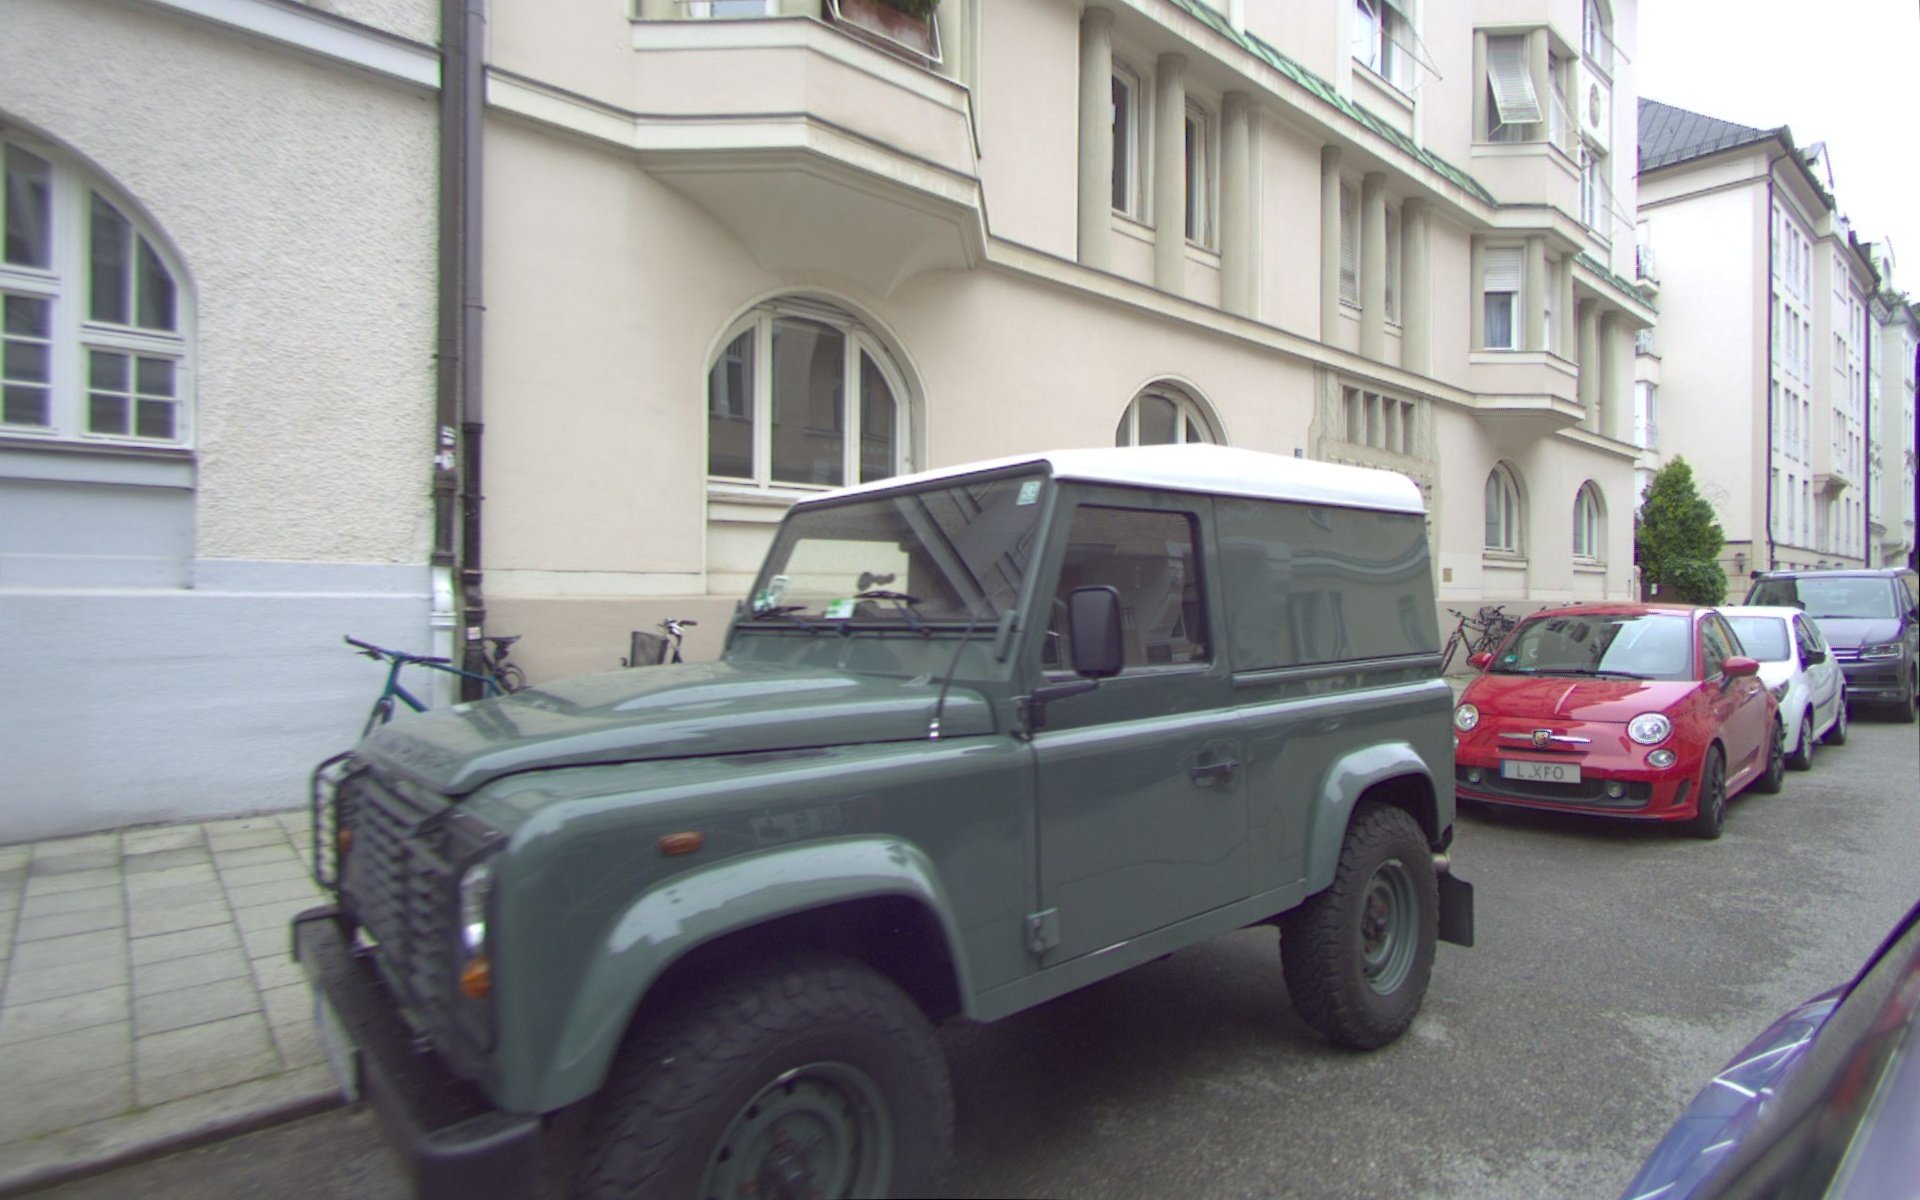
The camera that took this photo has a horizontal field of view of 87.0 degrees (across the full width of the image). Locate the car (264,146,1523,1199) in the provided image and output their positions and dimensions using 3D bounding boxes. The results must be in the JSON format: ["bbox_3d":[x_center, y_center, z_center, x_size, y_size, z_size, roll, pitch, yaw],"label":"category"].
[{"bbox_3d":[0.154,0.372,3.433,4.000,2.065,1.799,0,0,-41],"label":"car"}]

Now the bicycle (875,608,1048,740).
[{"bbox_3d":[0.015,0.640,9.094,1.527,1.131,0.317,0,0,-13],"label":"bicycle"}]

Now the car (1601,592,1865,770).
[{"bbox_3d":[7.943,0.687,10.291,3.612,1.490,1.494,0,-1,-42],"label":"car"}]

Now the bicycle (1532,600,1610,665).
[{"bbox_3d":[11.514,0.580,19.053,1.852,1.131,0.719,0,2,-42],"label":"bicycle"}]

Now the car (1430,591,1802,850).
[{"bbox_3d":[5.011,0.698,7.559,3.444,1.490,1.494,0,-1,-42],"label":"car"}]

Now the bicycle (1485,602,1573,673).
[{"bbox_3d":[9.997,0.627,17.749,1.933,1.131,0.719,0,2,-41],"label":"bicycle"}]

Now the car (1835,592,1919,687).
[{"bbox_3d":[16.252,0.607,17.076,3.672,1.485,1.730,0,0,-41],"label":"car"}]

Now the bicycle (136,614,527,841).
[{"bbox_3d":[-3.712,0.668,6.095,1.933,1.131,0.647,0,0,-40],"label":"bicycle"}]

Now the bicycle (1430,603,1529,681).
[{"bbox_3d":[8.430,0.645,16.383,1.933,1.131,0.719,0,3,-41],"label":"bicycle"}]

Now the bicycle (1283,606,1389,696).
[{"bbox_3d":[5.144,0.655,13.796,1.933,1.131,0.493,0,0,-41],"label":"bicycle"}]

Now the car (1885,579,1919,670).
[{"bbox_3d":[20.542,0.485,20.949,3.396,1.800,1.682,0,0,-41],"label":"car"}]

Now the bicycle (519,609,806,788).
[{"bbox_3d":[-2.130,0.645,7.416,1.933,1.131,0.642,0,0,-40],"label":"bicycle"}]

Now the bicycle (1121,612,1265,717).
[{"bbox_3d":[2.691,0.694,11.573,1.805,1.060,0.642,0,2,-40],"label":"bicycle"}]

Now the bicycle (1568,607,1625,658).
[{"bbox_3d":[12.847,0.629,20.416,1.787,0.970,0.539,0,0,-43],"label":"bicycle"}]

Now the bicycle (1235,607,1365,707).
[{"bbox_3d":[4.269,0.669,12.632,1.933,1.131,0.642,0,0,-40],"label":"bicycle"}]

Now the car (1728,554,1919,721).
[{"bbox_3d":[12.371,0.444,14.065,4.583,1.961,1.878,0,-1,-42],"label":"car"}]
